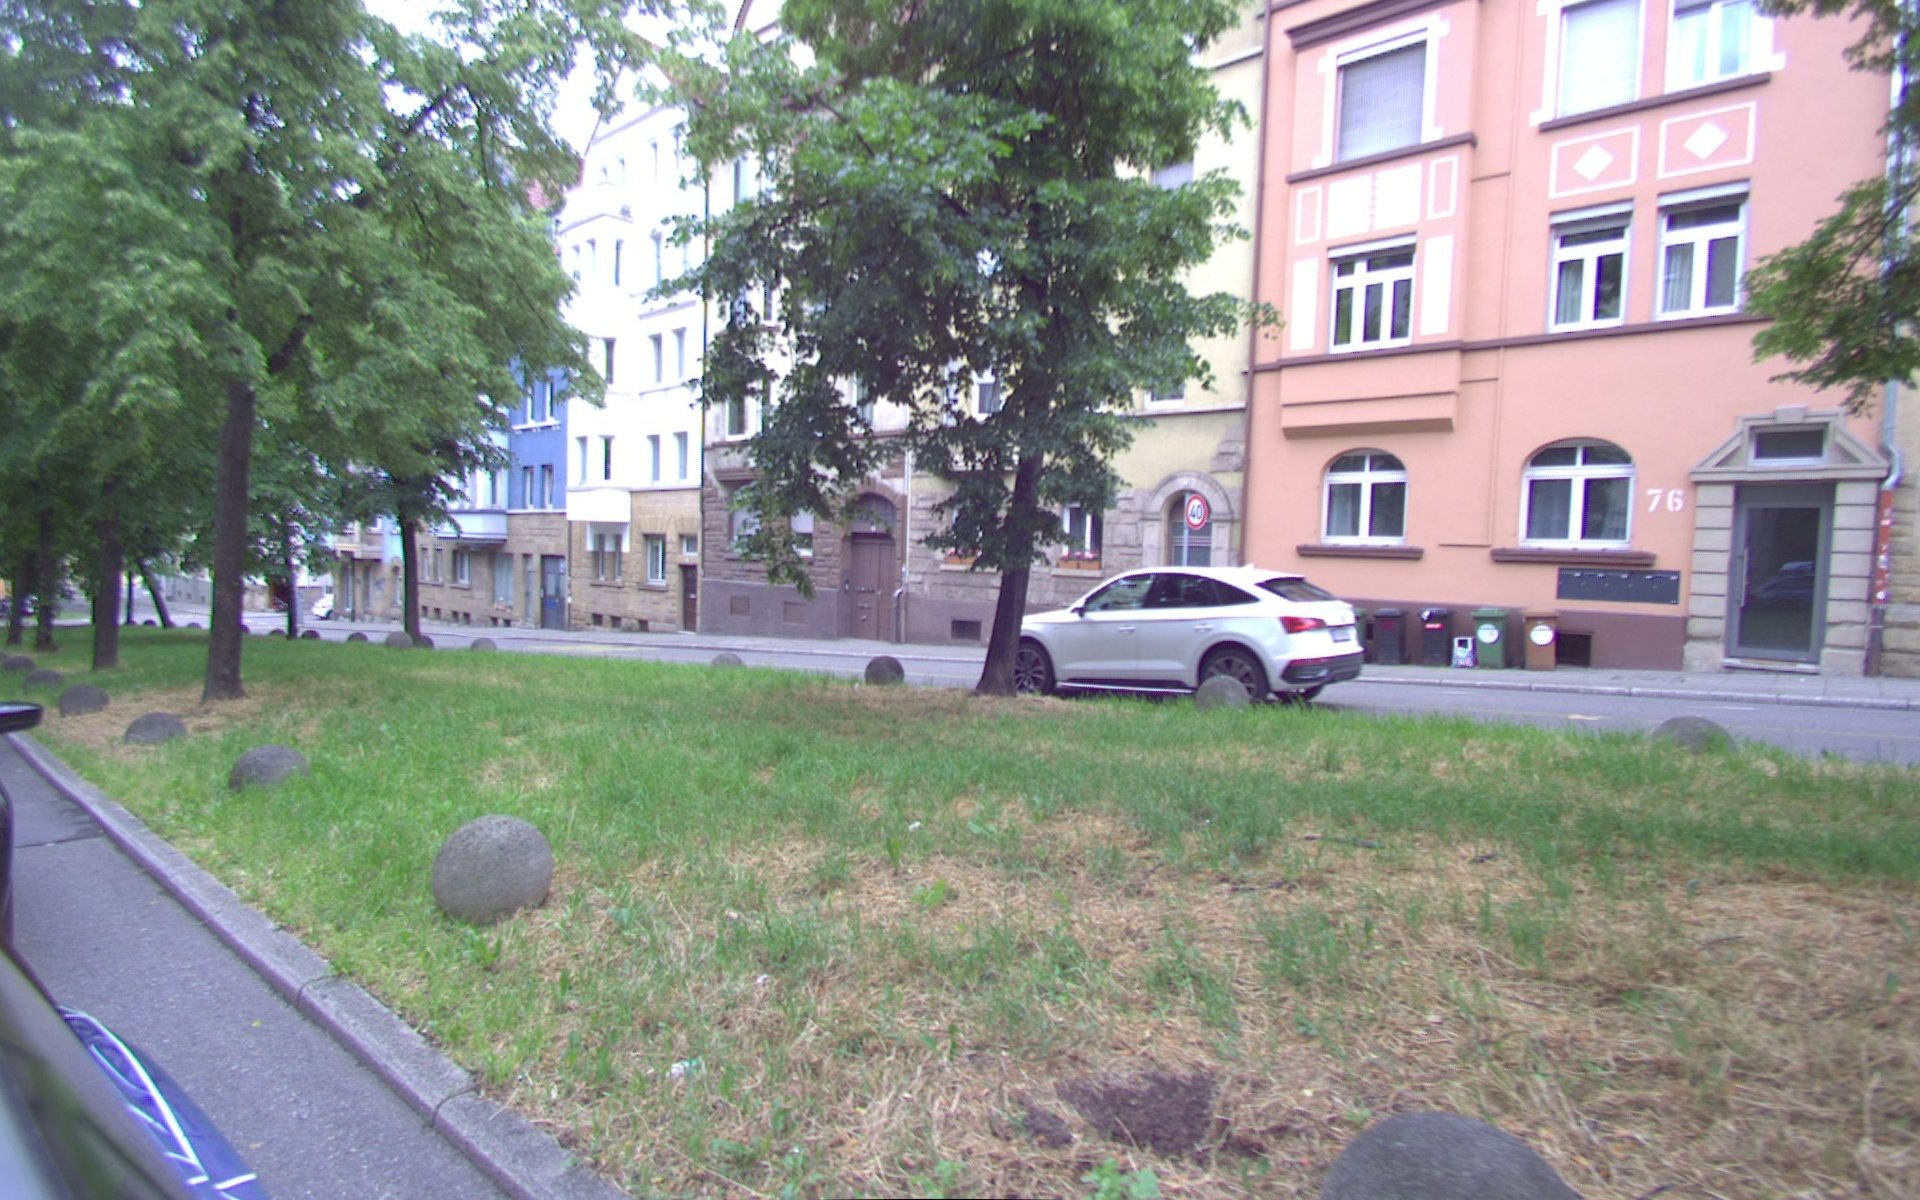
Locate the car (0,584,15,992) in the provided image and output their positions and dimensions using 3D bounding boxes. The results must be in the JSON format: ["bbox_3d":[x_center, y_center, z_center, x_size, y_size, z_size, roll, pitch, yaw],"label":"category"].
[{"bbox_3d":[-5.200,0.653,4.146,3.295,1.476,1.590,0,-1,41],"label":"car"}]

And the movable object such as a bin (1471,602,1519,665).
[{"bbox_3d":[8.186,0.498,15.485,0.559,0.928,0.648,0,0,36],"label":"movable object such as a bin"}]

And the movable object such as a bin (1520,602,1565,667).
[{"bbox_3d":[8.676,0.501,15.069,0.514,0.928,0.750,0,0,36],"label":"movable object such as a bin"}]

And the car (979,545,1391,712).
[{"bbox_3d":[2.549,0.316,12.183,4.488,1.640,1.875,-1,-1,41],"label":"car"}]

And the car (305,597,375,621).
[{"bbox_3d":[-36.311,0.498,59.290,3.244,1.341,1.674,-1,1,-40],"label":"car"}]
